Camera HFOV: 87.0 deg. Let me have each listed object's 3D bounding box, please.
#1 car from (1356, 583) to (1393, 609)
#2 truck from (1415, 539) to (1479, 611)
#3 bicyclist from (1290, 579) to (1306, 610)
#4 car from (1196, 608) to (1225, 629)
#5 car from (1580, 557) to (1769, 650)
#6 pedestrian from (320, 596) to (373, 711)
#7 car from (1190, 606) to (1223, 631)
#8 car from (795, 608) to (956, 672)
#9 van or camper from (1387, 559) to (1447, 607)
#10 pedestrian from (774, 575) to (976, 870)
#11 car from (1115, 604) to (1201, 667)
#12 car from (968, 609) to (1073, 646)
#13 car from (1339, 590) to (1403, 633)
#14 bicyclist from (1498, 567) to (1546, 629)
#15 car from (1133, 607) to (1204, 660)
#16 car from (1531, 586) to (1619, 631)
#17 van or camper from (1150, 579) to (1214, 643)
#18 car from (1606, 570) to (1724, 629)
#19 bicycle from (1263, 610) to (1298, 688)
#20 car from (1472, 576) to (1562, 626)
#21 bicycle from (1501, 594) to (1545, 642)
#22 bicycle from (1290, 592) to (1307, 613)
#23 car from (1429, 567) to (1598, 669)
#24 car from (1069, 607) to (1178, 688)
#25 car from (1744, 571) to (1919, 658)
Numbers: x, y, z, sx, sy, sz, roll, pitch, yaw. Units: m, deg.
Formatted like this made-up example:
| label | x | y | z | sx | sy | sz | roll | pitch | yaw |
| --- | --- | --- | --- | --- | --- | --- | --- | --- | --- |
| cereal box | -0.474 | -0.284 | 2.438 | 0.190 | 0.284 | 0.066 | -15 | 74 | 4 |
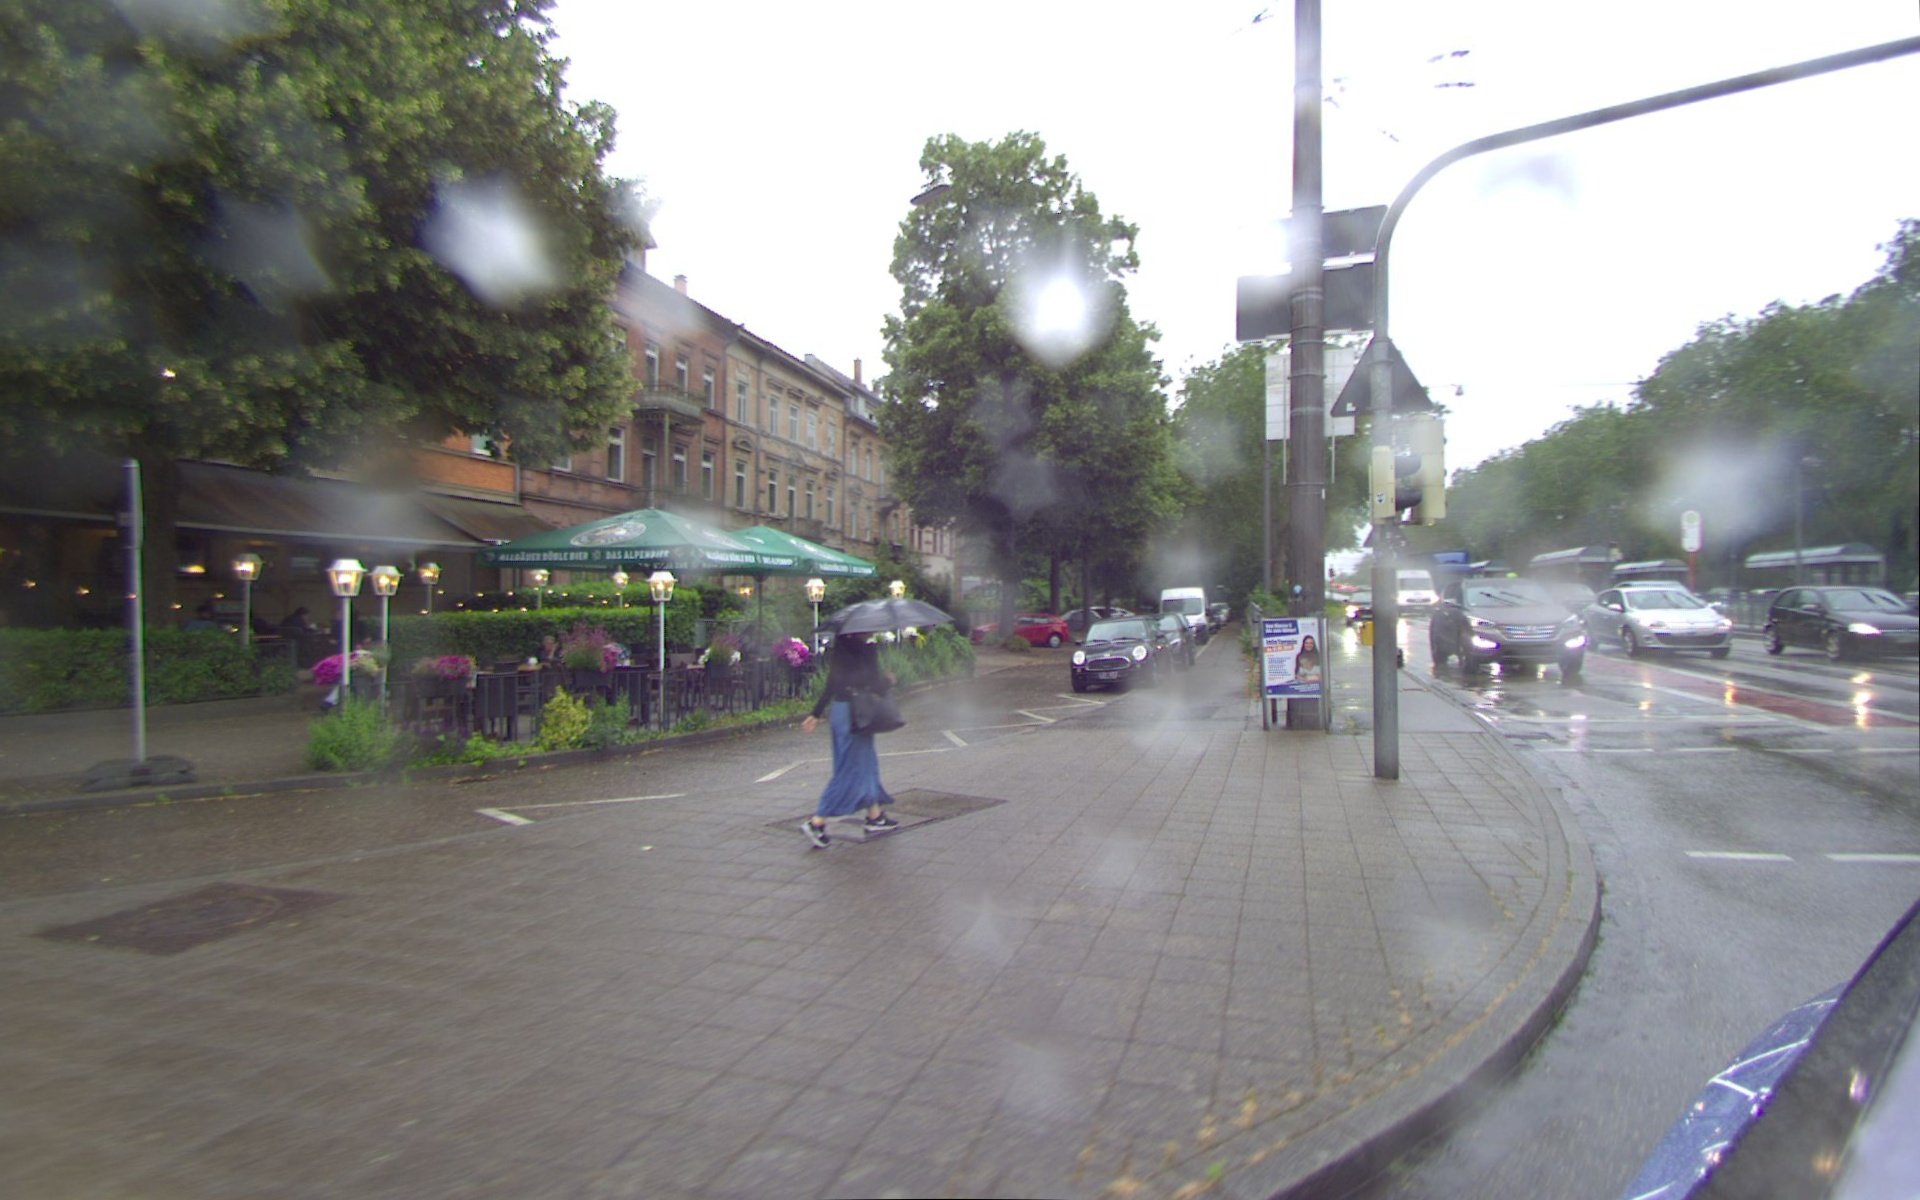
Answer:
| label | x | y | z | sx | sy | sz | roll | pitch | yaw |
| --- | --- | --- | --- | --- | --- | --- | --- | --- | --- |
| car | 30.296 | -0.298 | 74.064 | 1.972 | 1.780 | 3.980 | -2 | 0 | 16 |
| truck | 31.197 | -1.480 | 65.112 | 2.386 | 4.332 | 8.305 | -1 | -1 | 17 |
| bicyclist | 18.484 | -0.319 | 55.305 | 0.727 | 1.677 | 0.874 | 0 | -1 | 13 |
| car | 17.932 | 1.310 | 72.254 | 1.785 | 1.473 | 3.977 | -1 | -1 | 17 |
| car | 15.128 | 0.096 | 21.733 | 1.949 | 1.764 | 4.245 | -1 | -1 | 16 |
| pedestrian | -9.071 | 0.778 | 14.962 | 0.543 | 1.665 | 0.386 | 1 | 0 | 19 |
| car | 14.790 | 1.098 | 60.605 | 1.682 | 1.389 | 3.978 | -2 | 0 | 17 |
| car | -2.264 | 1.024 | 26.900 | 3.916 | 1.527 | 1.864 | -1 | -1 | -19 |
| van or camper | 25.414 | -0.884 | 56.462 | 2.115 | 2.531 | 5.683 | -1 | -1 | 16 |
| pedestrian | -0.579 | 0.703 | 6.496 | 0.977 | 1.688 | 1.108 | 0 | -1 | -23 |
| car | 5.204 | 0.867 | 26.184 | 1.728 | 1.482 | 4.192 | -1 | -1 | 17 |
| car | 2.602 | 1.182 | 43.814 | 4.197 | 1.489 | 1.712 | -1 | -1 | -14 |
| car | 17.462 | 0.499 | 43.167 | 1.950 | 1.709 | 4.668 | -1 | -1 | 16 |
| bicyclist | 14.005 | -0.058 | 25.253 | 0.917 | 1.488 | 0.799 | -2 | 0 | 23 |
| car | 6.466 | 0.981 | 31.102 | 1.709 | 1.488 | 4.191 | -1 | -1 | 18 |
| car | 24.082 | 0.335 | 39.777 | 1.888 | 1.668 | 4.168 | -1 | -1 | 16 |
| van or camper | 9.963 | 0.495 | 45.089 | 2.302 | 2.624 | 6.064 | -1 | -1 | 17 |
| car | 21.353 | 0.002 | 30.841 | 1.825 | 1.655 | 4.220 | -1 | -1 | 19 |
| bicycle | 5.184 | 0.764 | 16.420 | 0.417 | 1.183 | 1.783 | -3 | -1 | 16 |
| car | 18.922 | 0.040 | 34.592 | 1.890 | 1.569 | 4.636 | -1 | -1 | 19 |
| bicycle | 14.037 | 0.432 | 25.266 | 0.811 | 1.102 | 1.980 | -2 | 0 | 26 |
| bicycle | 18.463 | 0.138 | 55.210 | 0.729 | 1.086 | 1.859 | 0 | 0 | 13 |
| car | 10.189 | 0.329 | 19.026 | 1.889 | 1.668 | 4.652 | -1 | -1 | 18 |
| car | 3.458 | 0.919 | 20.952 | 1.631 | 1.519 | 3.494 | -2 | -1 | 19 |
| car | 17.588 | 0.268 | 19.964 | 1.762 | 1.532 | 4.532 | -1 | -1 | 17 |
